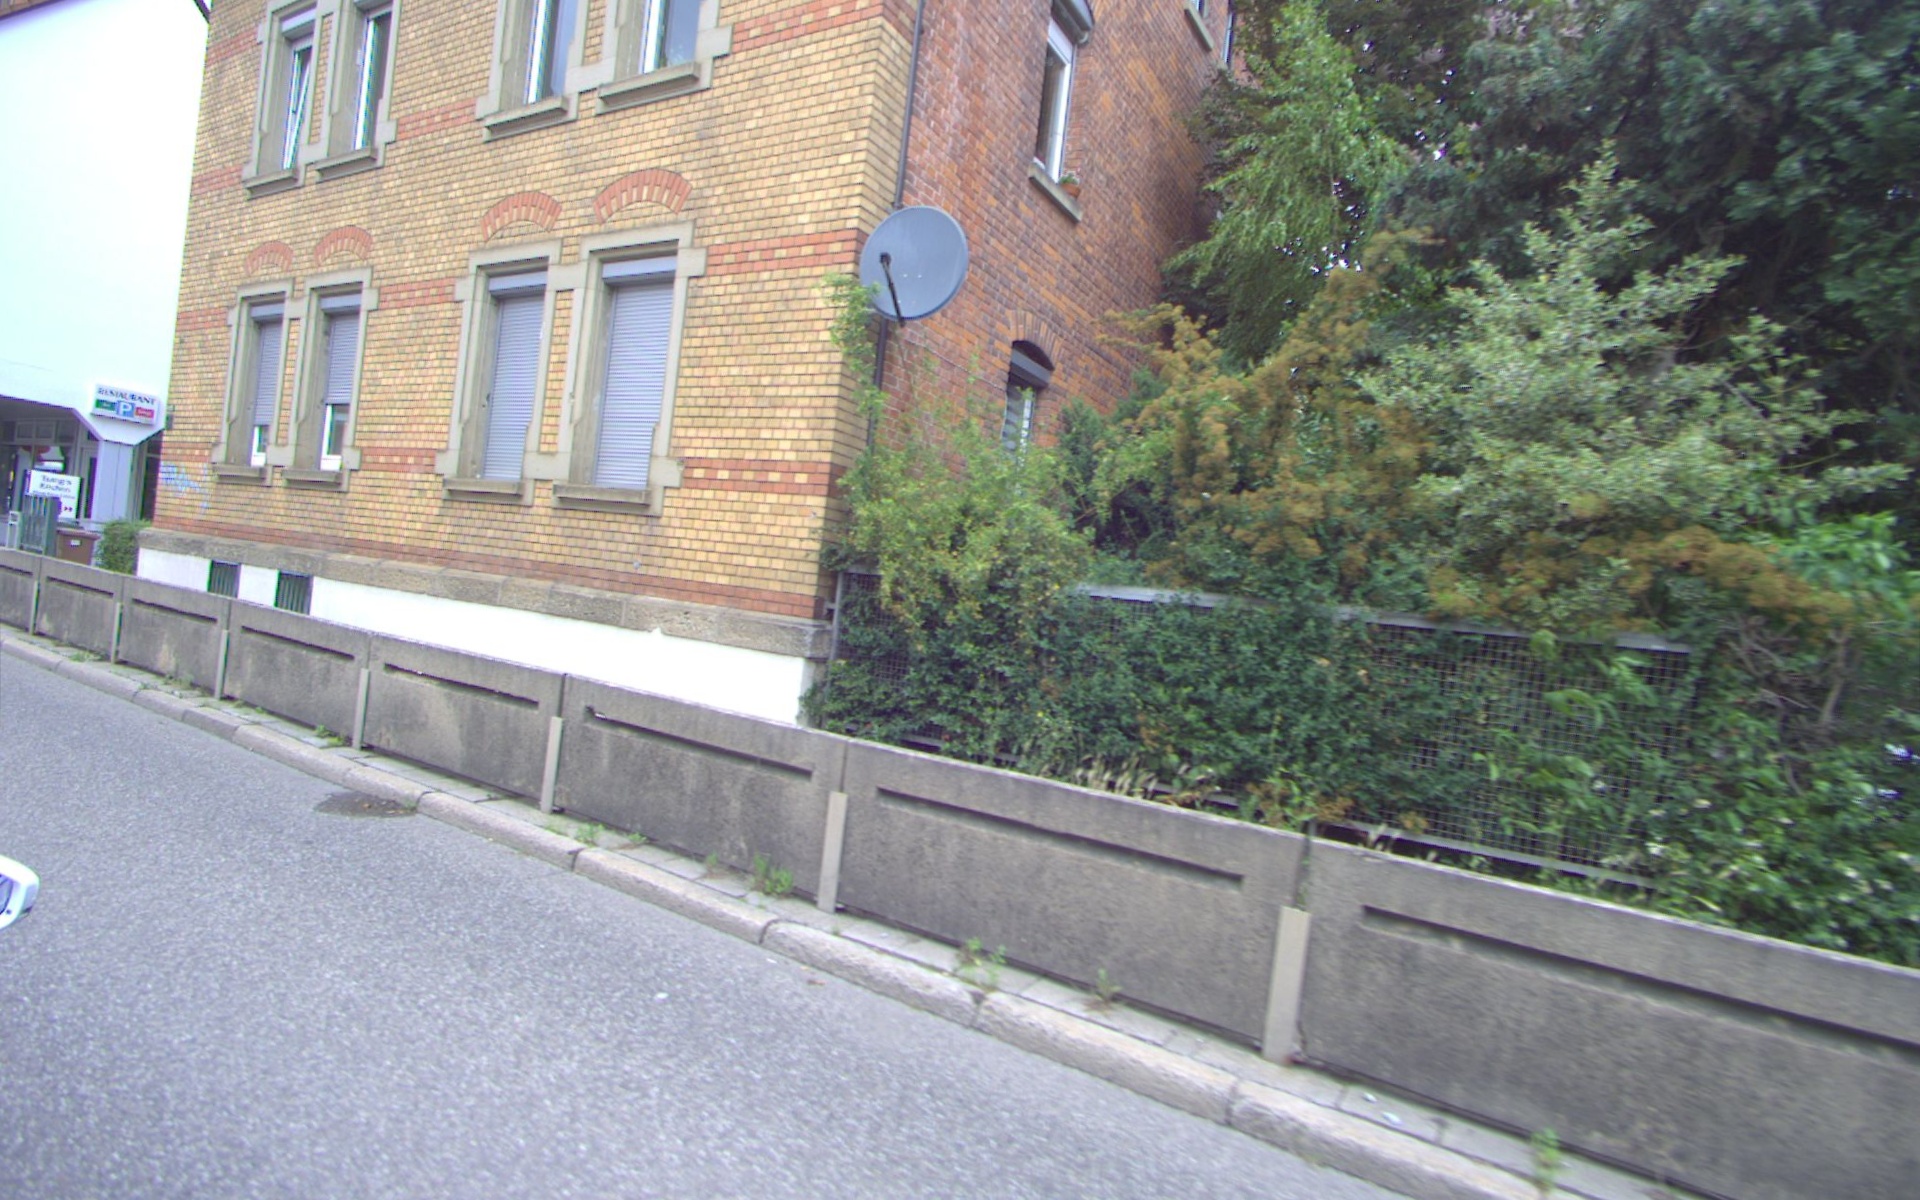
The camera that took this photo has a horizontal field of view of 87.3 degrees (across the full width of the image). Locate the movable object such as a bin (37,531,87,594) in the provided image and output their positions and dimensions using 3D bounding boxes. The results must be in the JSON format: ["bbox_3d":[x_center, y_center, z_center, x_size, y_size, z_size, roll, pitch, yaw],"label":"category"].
[{"bbox_3d":[-14.039,-0.586,15.728,0.449,0.915,0.398,7,0,32],"label":"movable object such as a bin"}]

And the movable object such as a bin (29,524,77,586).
[{"bbox_3d":[-14.505,-0.720,16.091,0.449,0.915,0.398,7,0,32],"label":"movable object such as a bin"}]
